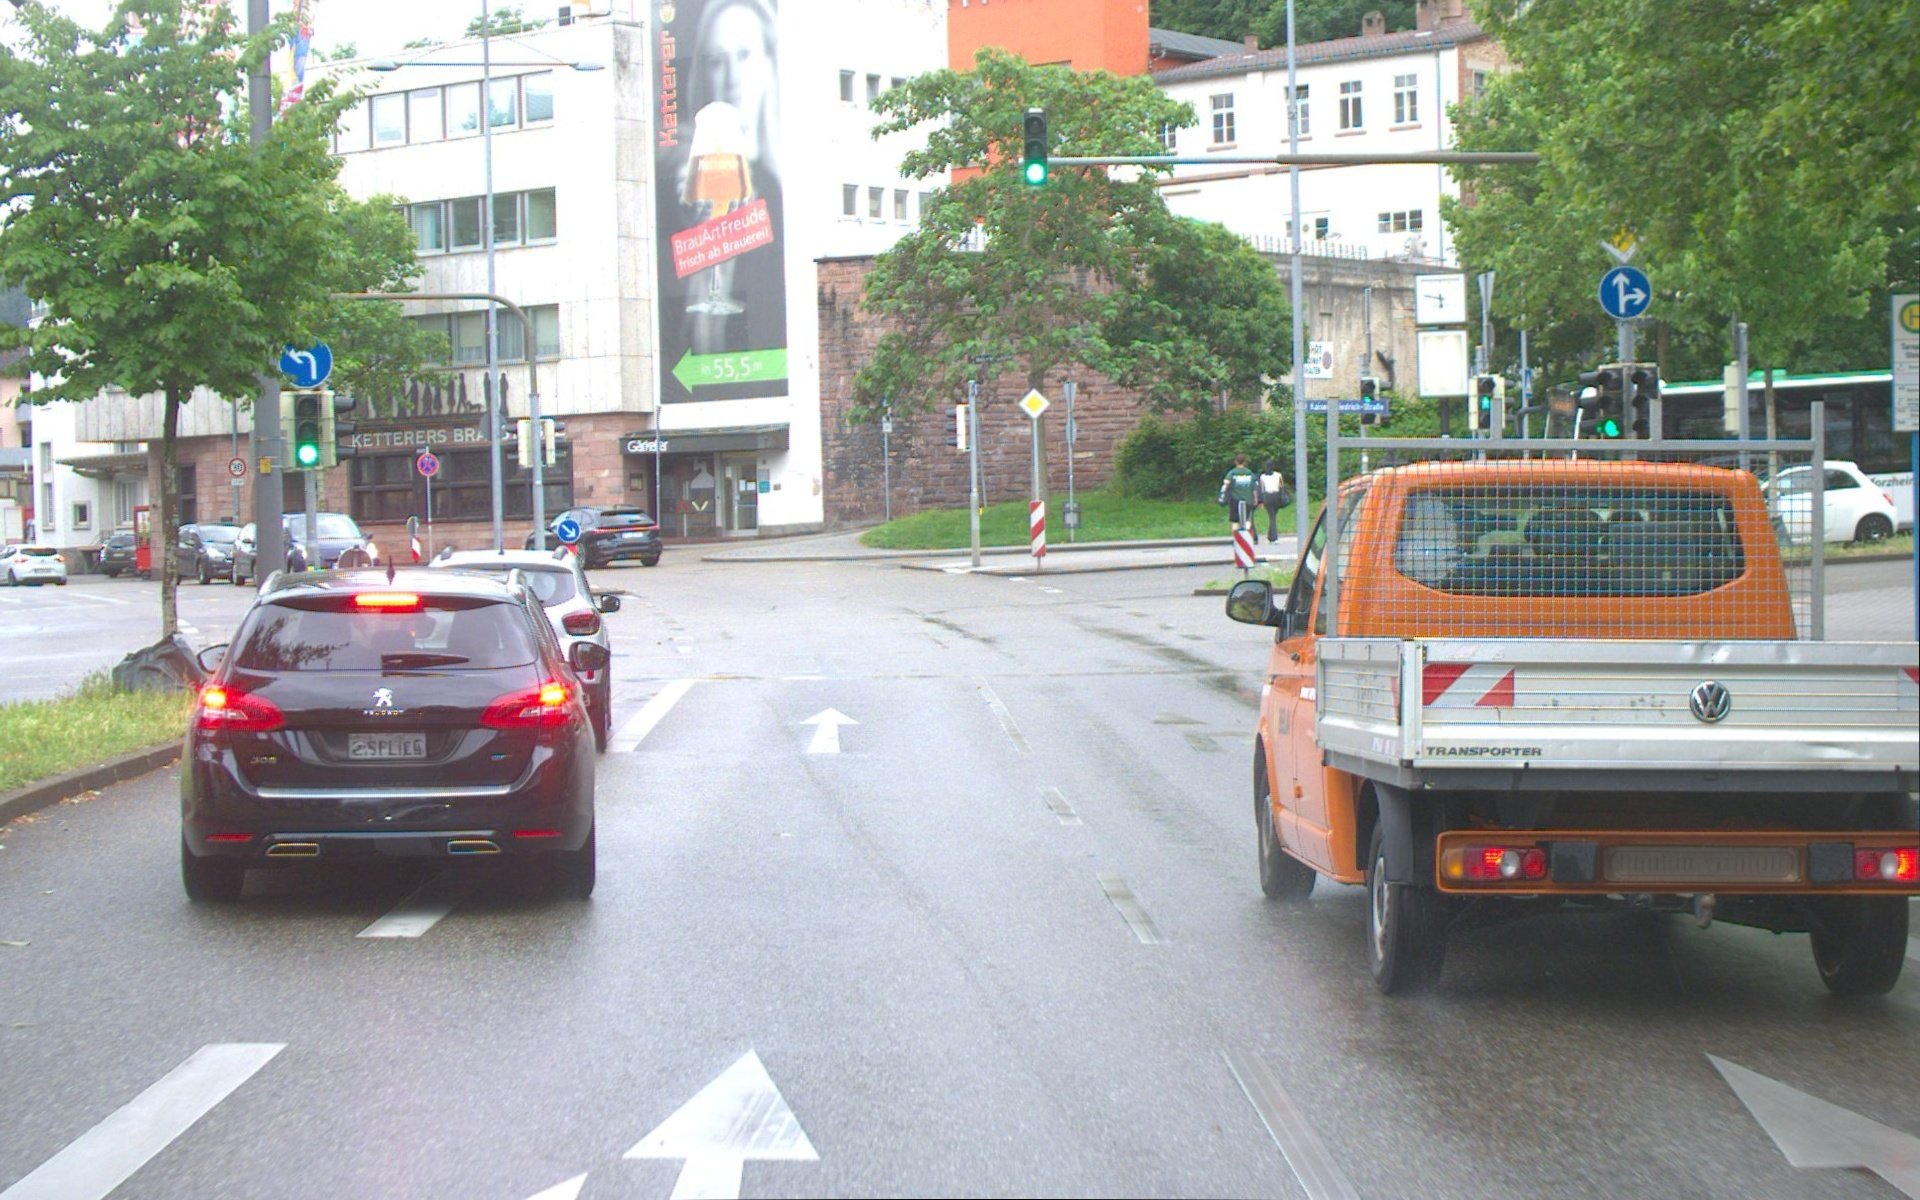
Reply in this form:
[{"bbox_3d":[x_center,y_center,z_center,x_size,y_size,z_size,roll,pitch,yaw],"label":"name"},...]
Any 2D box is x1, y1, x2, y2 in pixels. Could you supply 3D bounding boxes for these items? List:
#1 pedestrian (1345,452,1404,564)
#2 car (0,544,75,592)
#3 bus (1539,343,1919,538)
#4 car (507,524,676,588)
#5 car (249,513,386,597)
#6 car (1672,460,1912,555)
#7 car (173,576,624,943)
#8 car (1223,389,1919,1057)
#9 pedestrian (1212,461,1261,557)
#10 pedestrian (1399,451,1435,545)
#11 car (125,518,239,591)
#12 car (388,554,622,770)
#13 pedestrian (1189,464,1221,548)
[{"bbox_3d":[7.611,-1.686,63.123,0.786,2.006,0.587,-1,3,34],"label":"pedestrian"},{"bbox_3d":[-29.884,-1.021,108.946,3.864,1.391,1.666,2,4,41],"label":"car"},{"bbox_3d":[15.307,-2.874,60.654,9.626,3.205,2.706,-2,3,-3],"label":"bus"},{"bbox_3d":[-8.502,-0.997,79.004,1.790,1.398,4.632,1,0,-36],"label":"car"},{"bbox_3d":[-13.392,-0.957,71.478,1.755,1.609,4.212,-3,3,-24],"label":"car"},{"bbox_3d":[13.828,-1.550,57.220,3.557,1.446,1.590,-2,3,-3],"label":"car"},{"bbox_3d":[-2.639,0.625,16.130,1.798,1.429,4.398,-1,1,-10],"label":"car"},{"bbox_3d":[2.316,0.344,13.550,2.102,2.082,5.542,0,1,0],"label":"car"},{"bbox_3d":[5.348,-1.753,66.468,0.879,1.825,0.729,0,1,0],"label":"pedestrian"},{"bbox_3d":[8.397,-1.878,63.193,0.556,1.699,0.528,-3,3,10],"label":"pedestrian"},{"bbox_3d":[-18.565,-1.102,81.972,1.755,1.609,4.212,-3,3,-24],"label":"car"},{"bbox_3d":[-3.456,0.422,26.594,1.536,1.456,3.630,-1,2,-4],"label":"car"},{"bbox_3d":[4.730,-1.806,66.382,0.566,1.610,0.691,0,0,1],"label":"pedestrian"}]
